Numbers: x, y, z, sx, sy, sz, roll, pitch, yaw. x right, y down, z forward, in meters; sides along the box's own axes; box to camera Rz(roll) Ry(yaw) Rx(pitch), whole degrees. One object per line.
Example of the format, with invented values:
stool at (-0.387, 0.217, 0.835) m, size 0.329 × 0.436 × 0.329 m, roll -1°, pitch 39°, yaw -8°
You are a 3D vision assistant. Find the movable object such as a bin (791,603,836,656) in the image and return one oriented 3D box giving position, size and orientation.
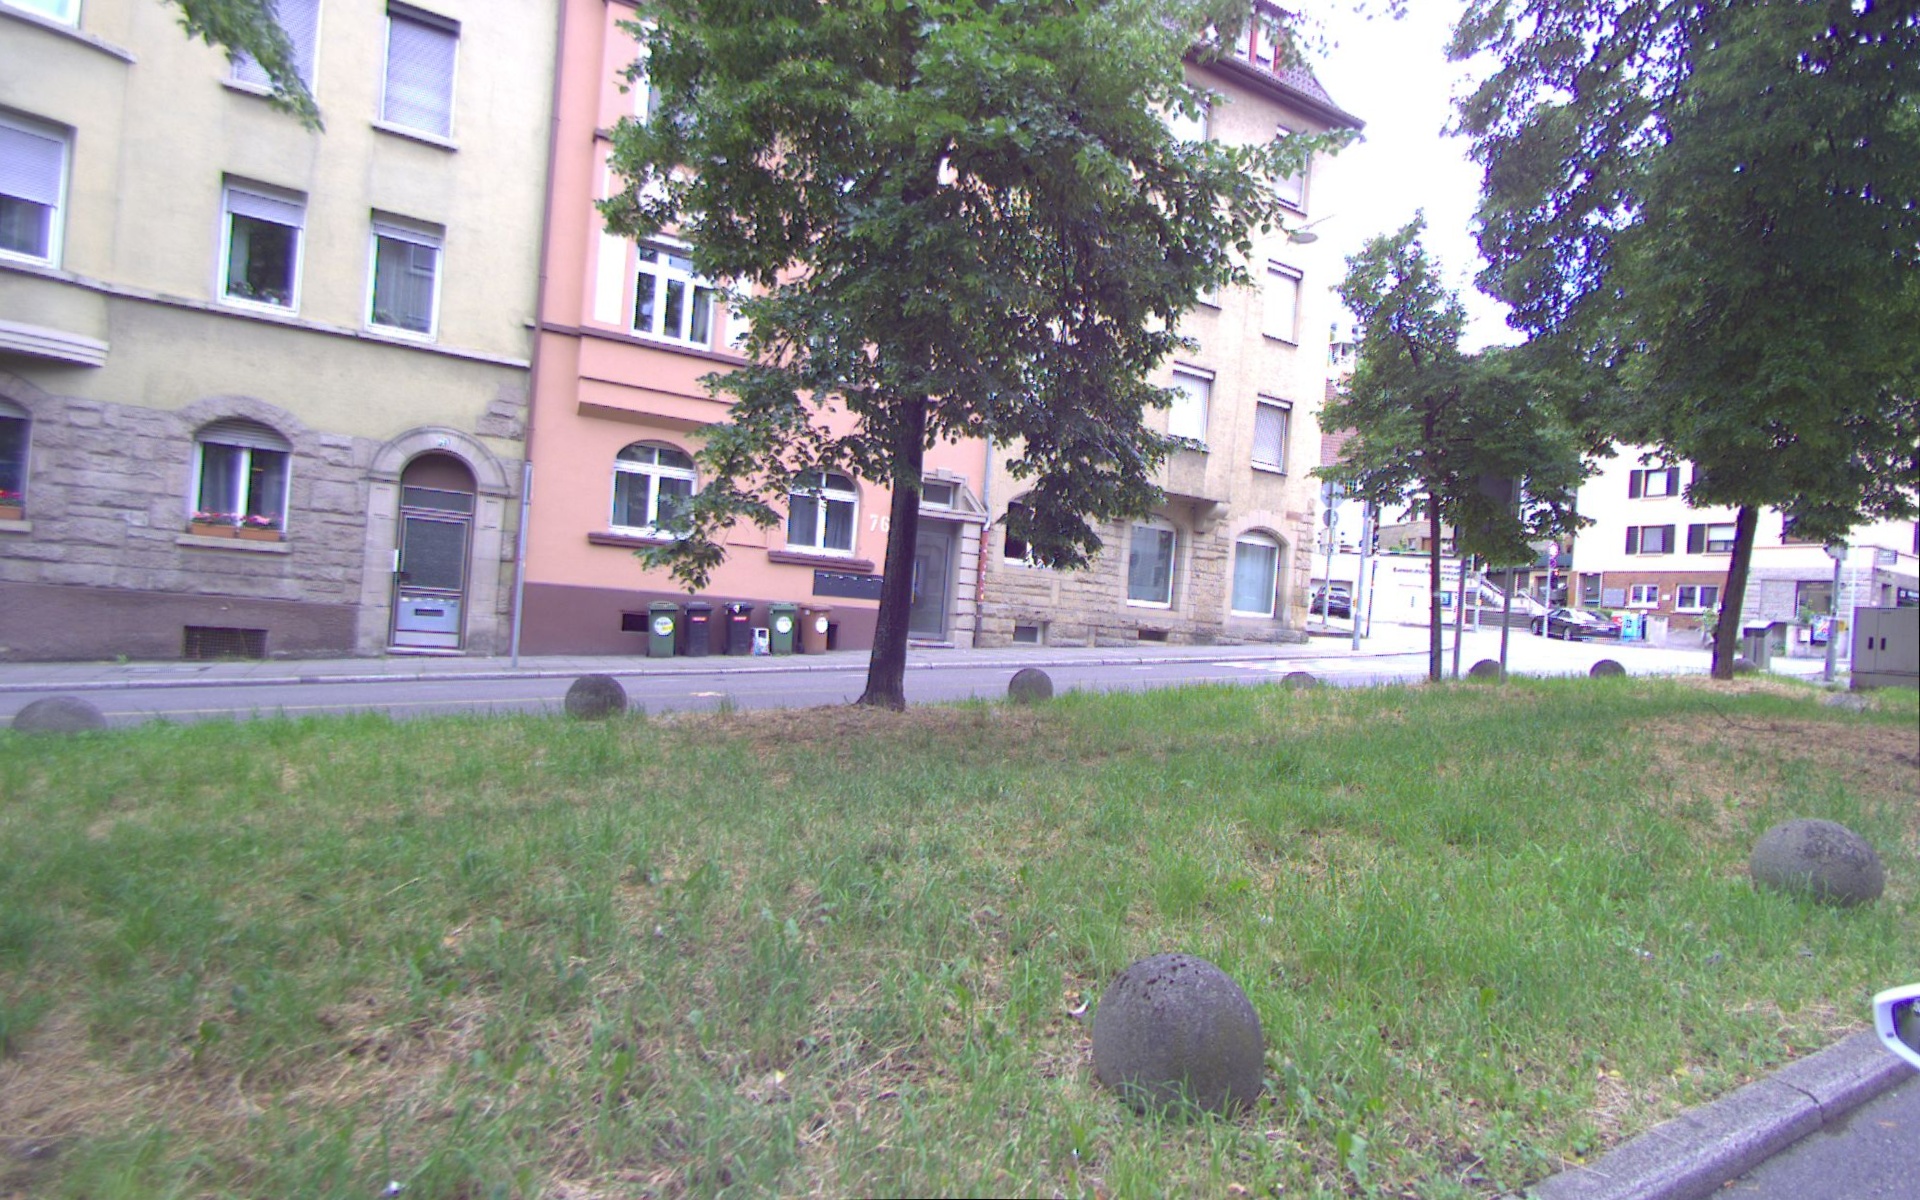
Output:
movable object such as a bin at (-2.695, 0.540, 18.490) m, size 0.595 × 0.916 × 0.605 m, roll 1°, pitch 2°, yaw -33°

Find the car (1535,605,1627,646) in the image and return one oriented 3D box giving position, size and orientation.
car at (28.074, 1.130, 45.542) m, size 1.845 × 1.687 × 4.002 m, roll 3°, pitch 0°, yaw 4°

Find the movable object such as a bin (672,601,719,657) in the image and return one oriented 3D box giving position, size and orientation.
movable object such as a bin at (-4.572, 0.492, 17.359) m, size 0.595 × 0.916 × 0.605 m, roll 1°, pitch 2°, yaw -33°

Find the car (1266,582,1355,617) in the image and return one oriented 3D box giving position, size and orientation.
car at (16.905, -0.048, 48.577) m, size 3.920 × 1.530 × 1.800 m, roll 3°, pitch 1°, yaw 17°

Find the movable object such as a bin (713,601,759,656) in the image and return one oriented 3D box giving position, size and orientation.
movable object such as a bin at (-3.950, 0.502, 17.717) m, size 0.595 × 0.916 × 0.605 m, roll 1°, pitch 2°, yaw -33°

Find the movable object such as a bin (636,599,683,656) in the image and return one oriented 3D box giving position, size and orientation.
movable object such as a bin at (-5.099, 0.465, 17.018) m, size 0.595 × 0.916 × 0.605 m, roll 1°, pitch 2°, yaw -33°

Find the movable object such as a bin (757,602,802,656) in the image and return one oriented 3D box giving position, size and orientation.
movable object such as a bin at (-3.263, 0.521, 18.145) m, size 0.595 × 0.916 × 0.605 m, roll 1°, pitch 2°, yaw -33°

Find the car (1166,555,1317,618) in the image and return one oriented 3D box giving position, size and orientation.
car at (10.670, -0.543, 38.344) m, size 5.102 × 2.092 × 1.987 m, roll 4°, pitch 3°, yaw 38°
